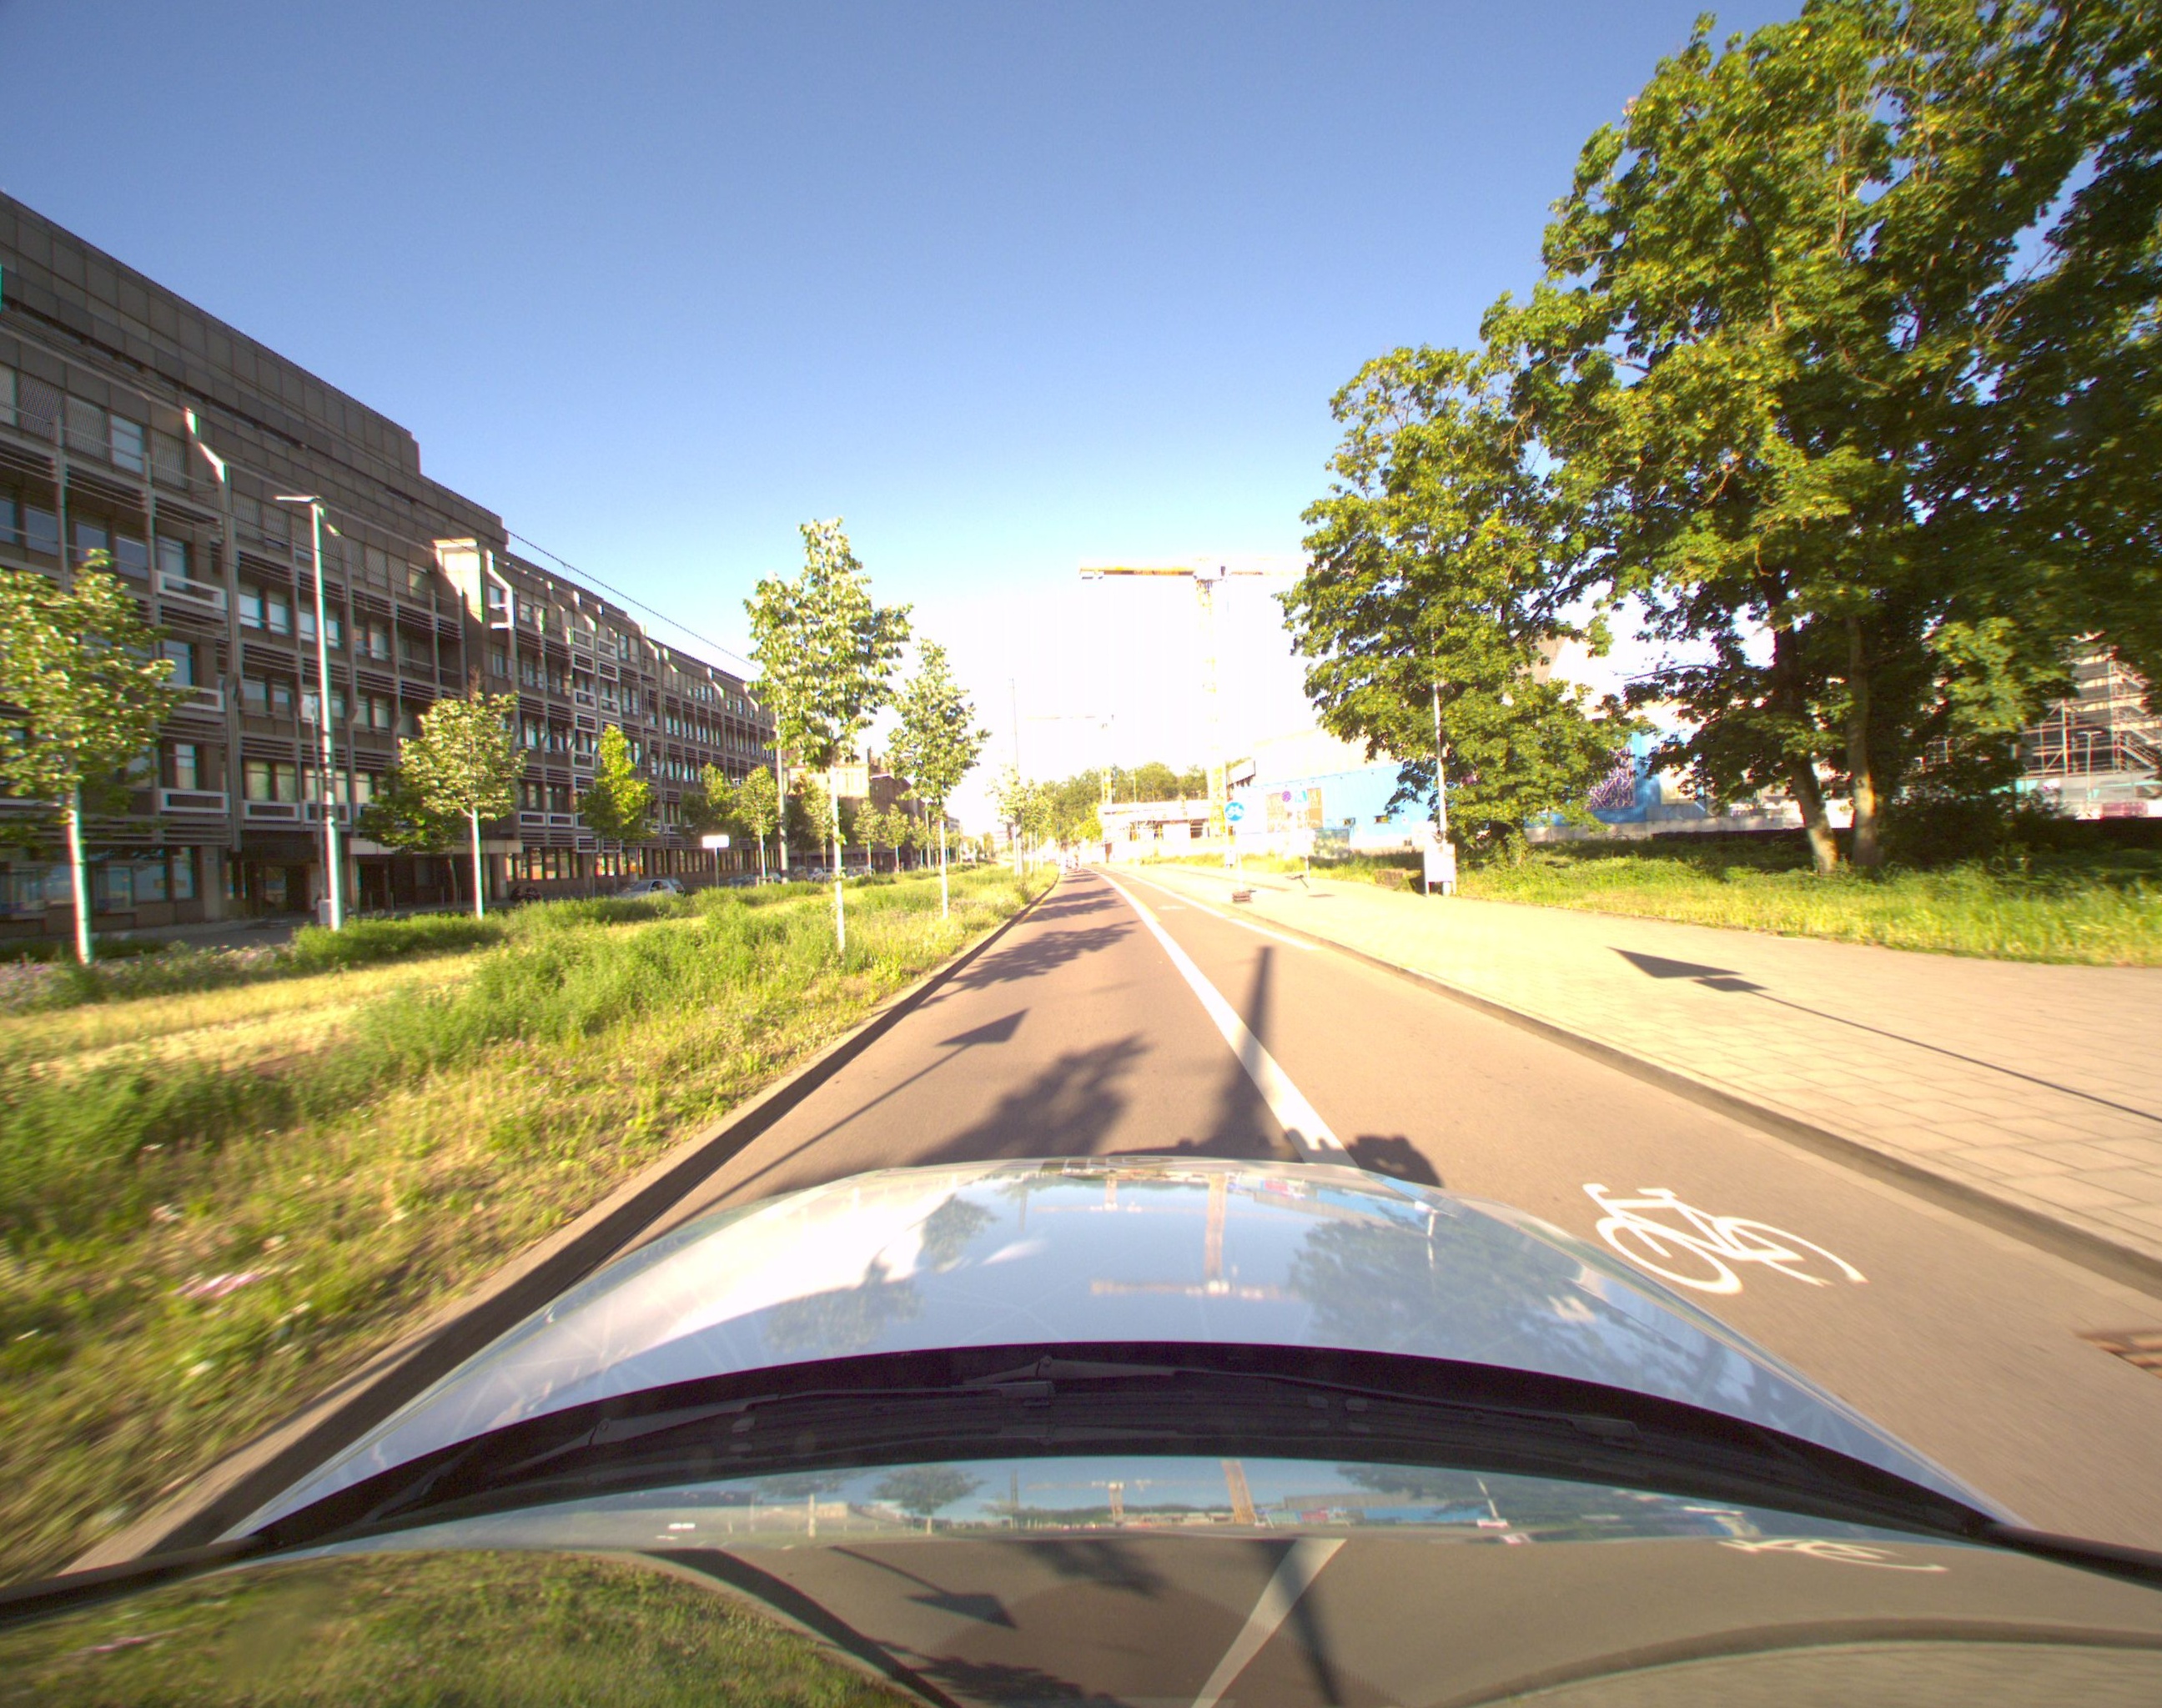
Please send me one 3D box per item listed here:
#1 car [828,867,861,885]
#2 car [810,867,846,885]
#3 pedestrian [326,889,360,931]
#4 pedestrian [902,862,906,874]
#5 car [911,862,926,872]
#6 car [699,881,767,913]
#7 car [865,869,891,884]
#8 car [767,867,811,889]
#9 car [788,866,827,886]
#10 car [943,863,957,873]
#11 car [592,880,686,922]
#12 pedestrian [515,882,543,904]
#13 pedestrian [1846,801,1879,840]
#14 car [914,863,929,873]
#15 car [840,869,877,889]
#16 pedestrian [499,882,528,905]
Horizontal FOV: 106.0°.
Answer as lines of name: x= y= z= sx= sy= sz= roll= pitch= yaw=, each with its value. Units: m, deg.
car: x=-24.138 y=2.234 z=83.225 sx=1.897 sy=1.575 sz=4.301 roll=-3 pitch=0 yaw=1
car: x=-23.971 y=2.068 z=77.386 sx=1.897 sy=1.575 sz=4.301 roll=-3 pitch=0 yaw=1
pedestrian: x=-28.734 y=2.169 z=31.698 sx=0.661 sy=1.532 sz=0.649 roll=-3 pitch=0 yaw=0
pedestrian: x=-28.309 y=2.213 z=130.132 sx=0.549 sy=1.947 sz=0.648 roll=-3 pitch=0 yaw=-7
car: x=-26.465 y=2.141 z=133.003 sx=1.901 sy=1.575 sz=4.292 roll=-3 pitch=0 yaw=-6
car: x=-20.059 y=2.446 z=47.170 sx=1.897 sy=1.575 sz=4.411 roll=-3 pitch=0 yaw=1
car: x=-24.654 y=2.668 z=98.883 sx=1.897 sy=1.575 sz=4.301 roll=-3 pitch=0 yaw=1
car: x=-23.947 y=1.936 z=66.985 sx=1.897 sy=1.575 sz=4.301 roll=-3 pitch=0 yaw=1
car: x=-23.949 y=1.890 z=71.481 sx=1.897 sy=1.575 sz=4.301 roll=-3 pitch=0 yaw=1
car: x=-22.640 y=2.407 z=140.817 sx=1.901 sy=1.575 sz=4.292 roll=-3 pitch=0 yaw=-6
car: x=-19.679 y=2.064 z=36.504 sx=1.897 sy=1.575 sz=4.000 roll=-3 pitch=0 yaw=1
pedestrian: x=-31.355 y=2.195 z=46.303 sx=0.896 sy=1.169 sz=0.900 roll=-3 pitch=0 yaw=2
pedestrian: x=41.543 y=-1.786 z=43.304 sx=0.915 sy=2.014 sz=0.941 roll=-2 pitch=-2 yaw=-27
car: x=-26.993 y=2.364 z=137.878 sx=1.901 sy=1.575 sz=4.292 roll=-3 pitch=0 yaw=-6
car: x=-19.322 y=2.145 z=70.943 sx=1.897 sy=1.575 sz=4.301 roll=-3 pitch=0 yaw=1
pedestrian: x=-31.425 y=2.198 z=45.118 sx=0.897 sy=1.169 sz=0.865 roll=-3 pitch=0 yaw=0
